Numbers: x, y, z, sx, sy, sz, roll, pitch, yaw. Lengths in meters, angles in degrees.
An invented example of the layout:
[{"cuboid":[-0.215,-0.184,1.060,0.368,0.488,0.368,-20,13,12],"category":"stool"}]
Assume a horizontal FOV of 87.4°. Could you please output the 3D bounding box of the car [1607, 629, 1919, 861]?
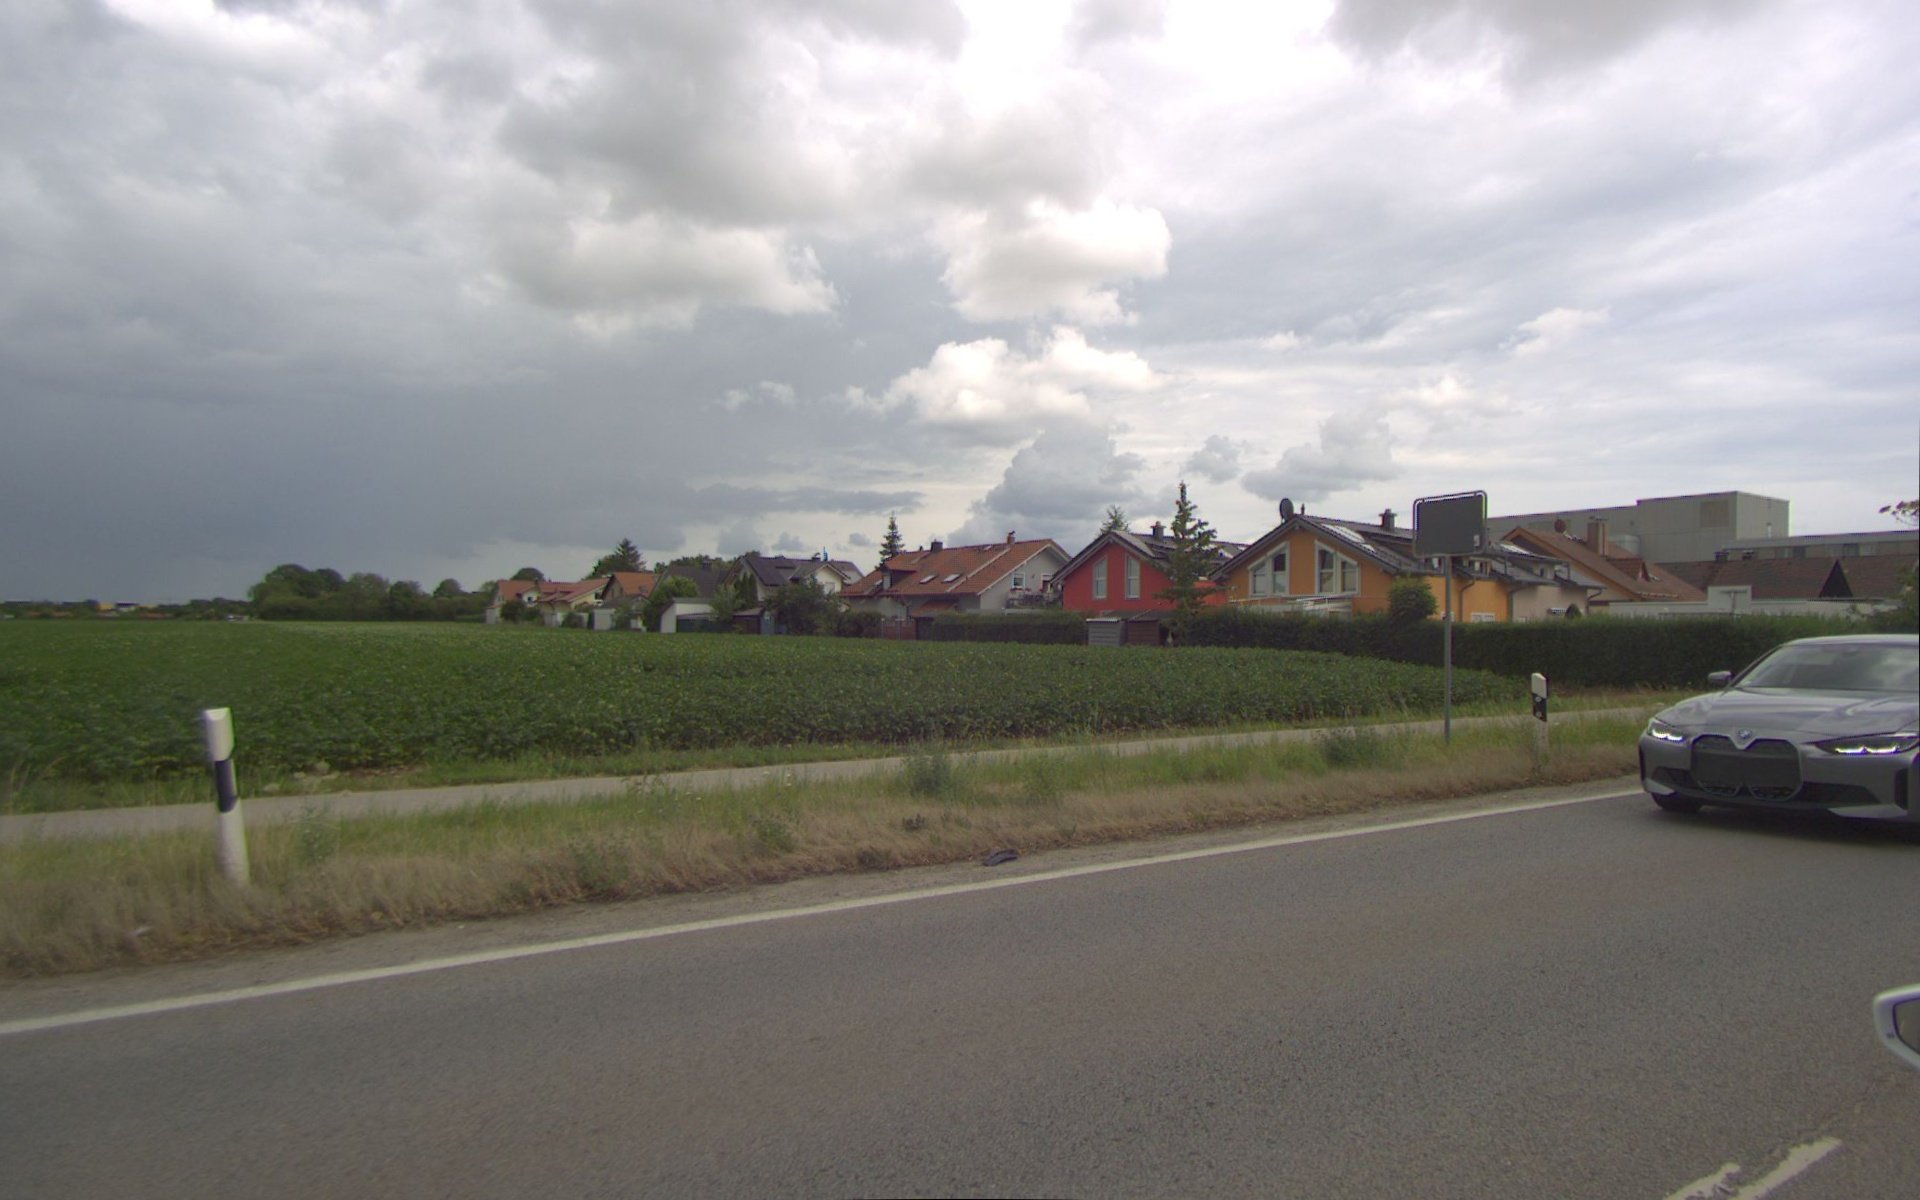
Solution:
[{"cuboid":[7.509,0.995,8.351,4.319,1.483,1.844,1,-2,-30],"category":"car"}]
